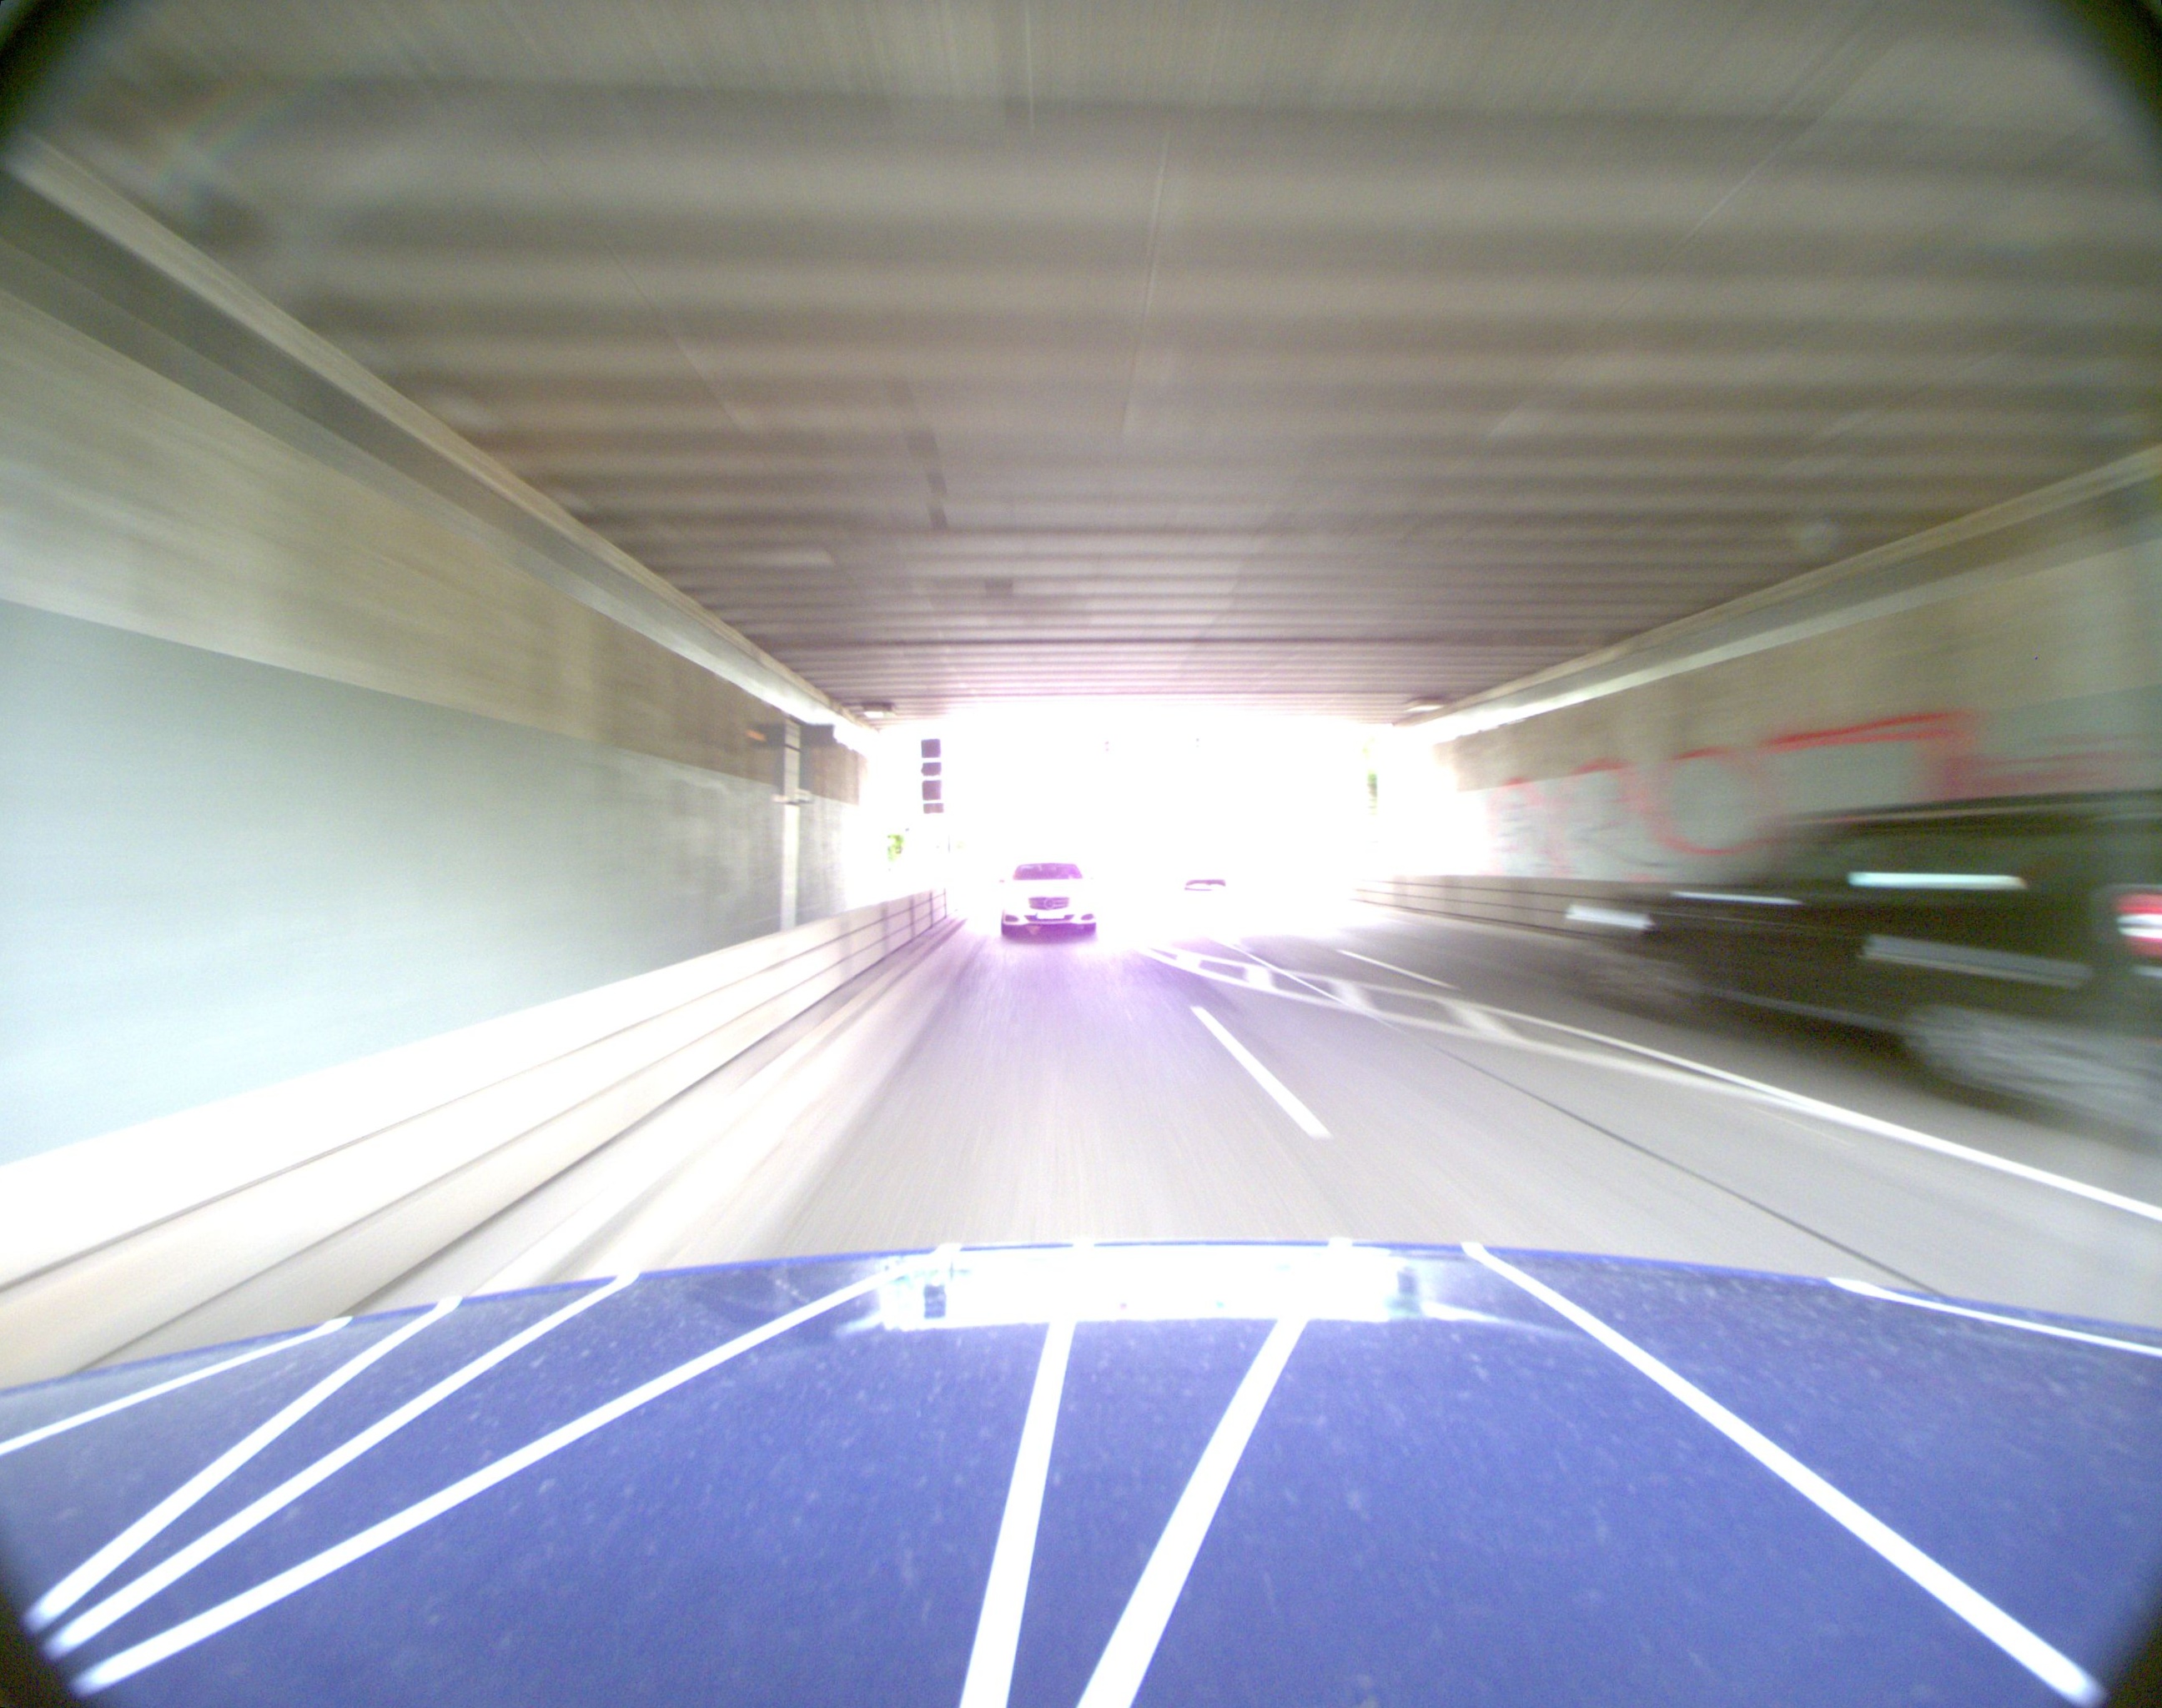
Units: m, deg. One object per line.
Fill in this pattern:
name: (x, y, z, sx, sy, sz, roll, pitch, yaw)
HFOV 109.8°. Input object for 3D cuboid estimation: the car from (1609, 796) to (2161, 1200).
car: (5.376, 0.556, 4.553, 1.691, 1.698, 3.788, -3, 1, -1)

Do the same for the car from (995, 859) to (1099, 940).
car: (-0.582, 0.853, 16.075, 1.887, 1.414, 4.000, -2, 0, 1)

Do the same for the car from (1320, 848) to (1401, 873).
car: (17.314, 0.358, 47.036, 4.423, 1.331, 1.996, -2, 2, -19)

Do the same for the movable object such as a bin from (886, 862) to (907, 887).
movable object such as a bin: (-8.390, 0.947, 34.545, 0.642, 1.109, 0.577, -2, 0, 40)

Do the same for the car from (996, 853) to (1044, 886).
car: (-3.113, 0.772, 38.113, 1.824, 1.535, 3.722, -2, -1, -13)

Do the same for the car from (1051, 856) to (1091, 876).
car: (-0.815, 0.885, 57.493, 1.730, 1.401, 3.993, -2, 1, -20)

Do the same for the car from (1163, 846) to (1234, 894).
car: (4.370, 0.553, 28.941, 1.788, 1.650, 4.107, -3, 1, -3)
